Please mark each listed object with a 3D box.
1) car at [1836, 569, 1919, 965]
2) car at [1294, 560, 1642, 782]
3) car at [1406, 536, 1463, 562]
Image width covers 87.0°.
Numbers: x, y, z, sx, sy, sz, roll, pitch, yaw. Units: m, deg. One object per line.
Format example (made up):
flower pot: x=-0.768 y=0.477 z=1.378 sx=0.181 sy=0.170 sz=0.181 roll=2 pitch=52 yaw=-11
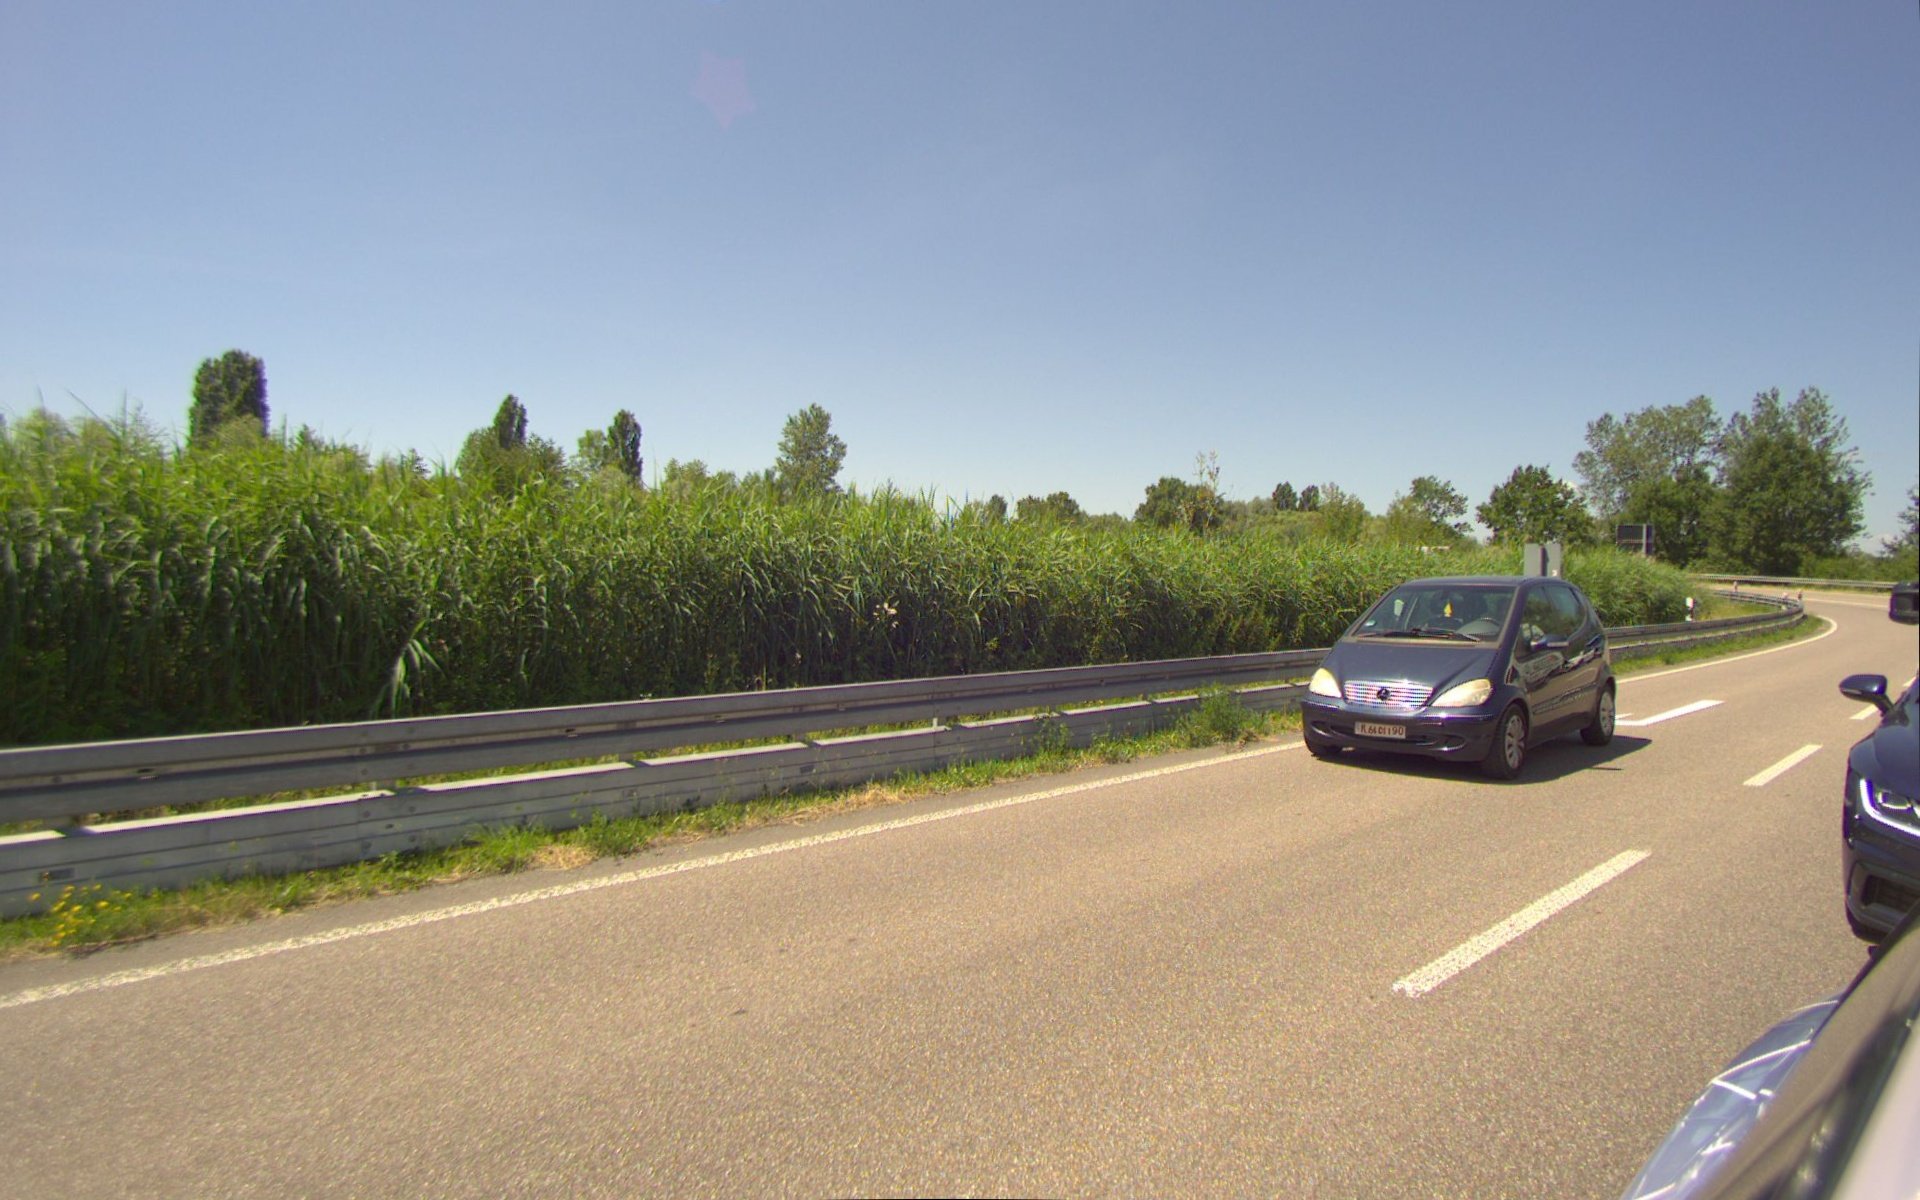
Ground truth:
car: x=5.658 y=0.612 z=4.694 sx=4.338 sy=1.481 sz=1.818 roll=-1 pitch=1 yaw=-41
car: x=4.704 y=0.492 z=9.184 sx=3.492 sy=1.620 sz=1.671 roll=-1 pitch=1 yaw=-42
car: x=47.592 y=-5.129 z=101.666 sx=1.959 sy=2.445 sz=5.604 roll=-4 pitch=4 yaw=-16
